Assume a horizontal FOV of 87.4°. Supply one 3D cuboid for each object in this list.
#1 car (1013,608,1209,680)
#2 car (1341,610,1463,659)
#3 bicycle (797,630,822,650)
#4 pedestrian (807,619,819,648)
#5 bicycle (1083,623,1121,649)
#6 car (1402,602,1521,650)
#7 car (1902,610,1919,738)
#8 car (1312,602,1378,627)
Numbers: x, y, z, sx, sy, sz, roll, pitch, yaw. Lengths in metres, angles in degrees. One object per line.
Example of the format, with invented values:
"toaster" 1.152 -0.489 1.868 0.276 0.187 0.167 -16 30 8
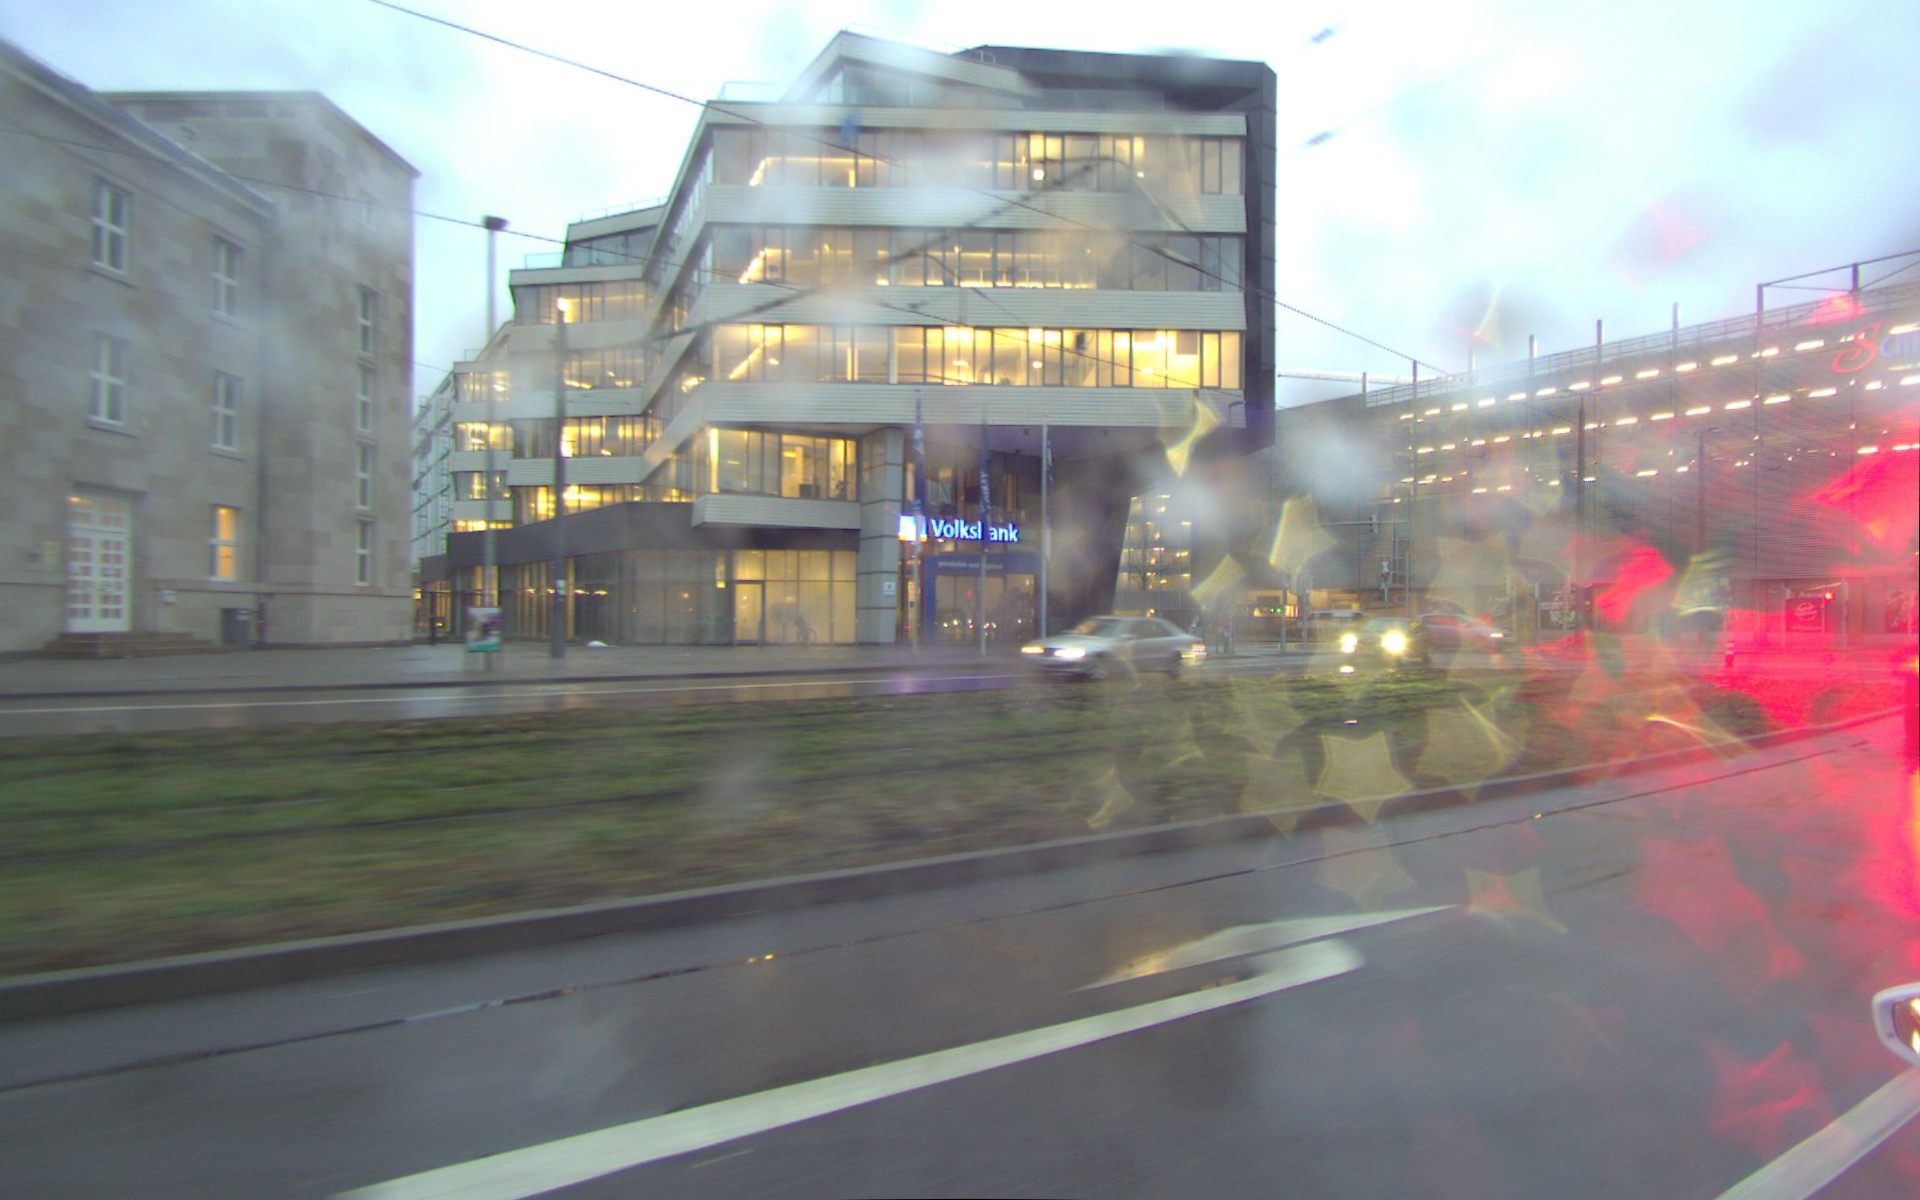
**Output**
"car" 3.588 0.964 23.402 4.612 1.454 1.807 1 1 -37
"car" 14.177 1.056 32.084 4.483 1.419 1.644 1 1 -38
"bicycle" -5.656 1.493 37.720 0.897 0.724 0.482 1 -1 -13
"pedestrian" -5.541 1.261 37.853 0.380 1.103 0.325 0 -1 1
"bicycle" 6.156 1.570 43.535 1.590 1.105 0.553 1 -1 -26
"car" 20.775 1.071 41.695 1.987 1.899 3.948 0 -2 -44
"car" 13.981 0.959 13.212 3.964 1.595 1.740 1 -1 -38
"car" 33.010 1.230 86.228 1.874 1.988 5.038 0 1 -38
